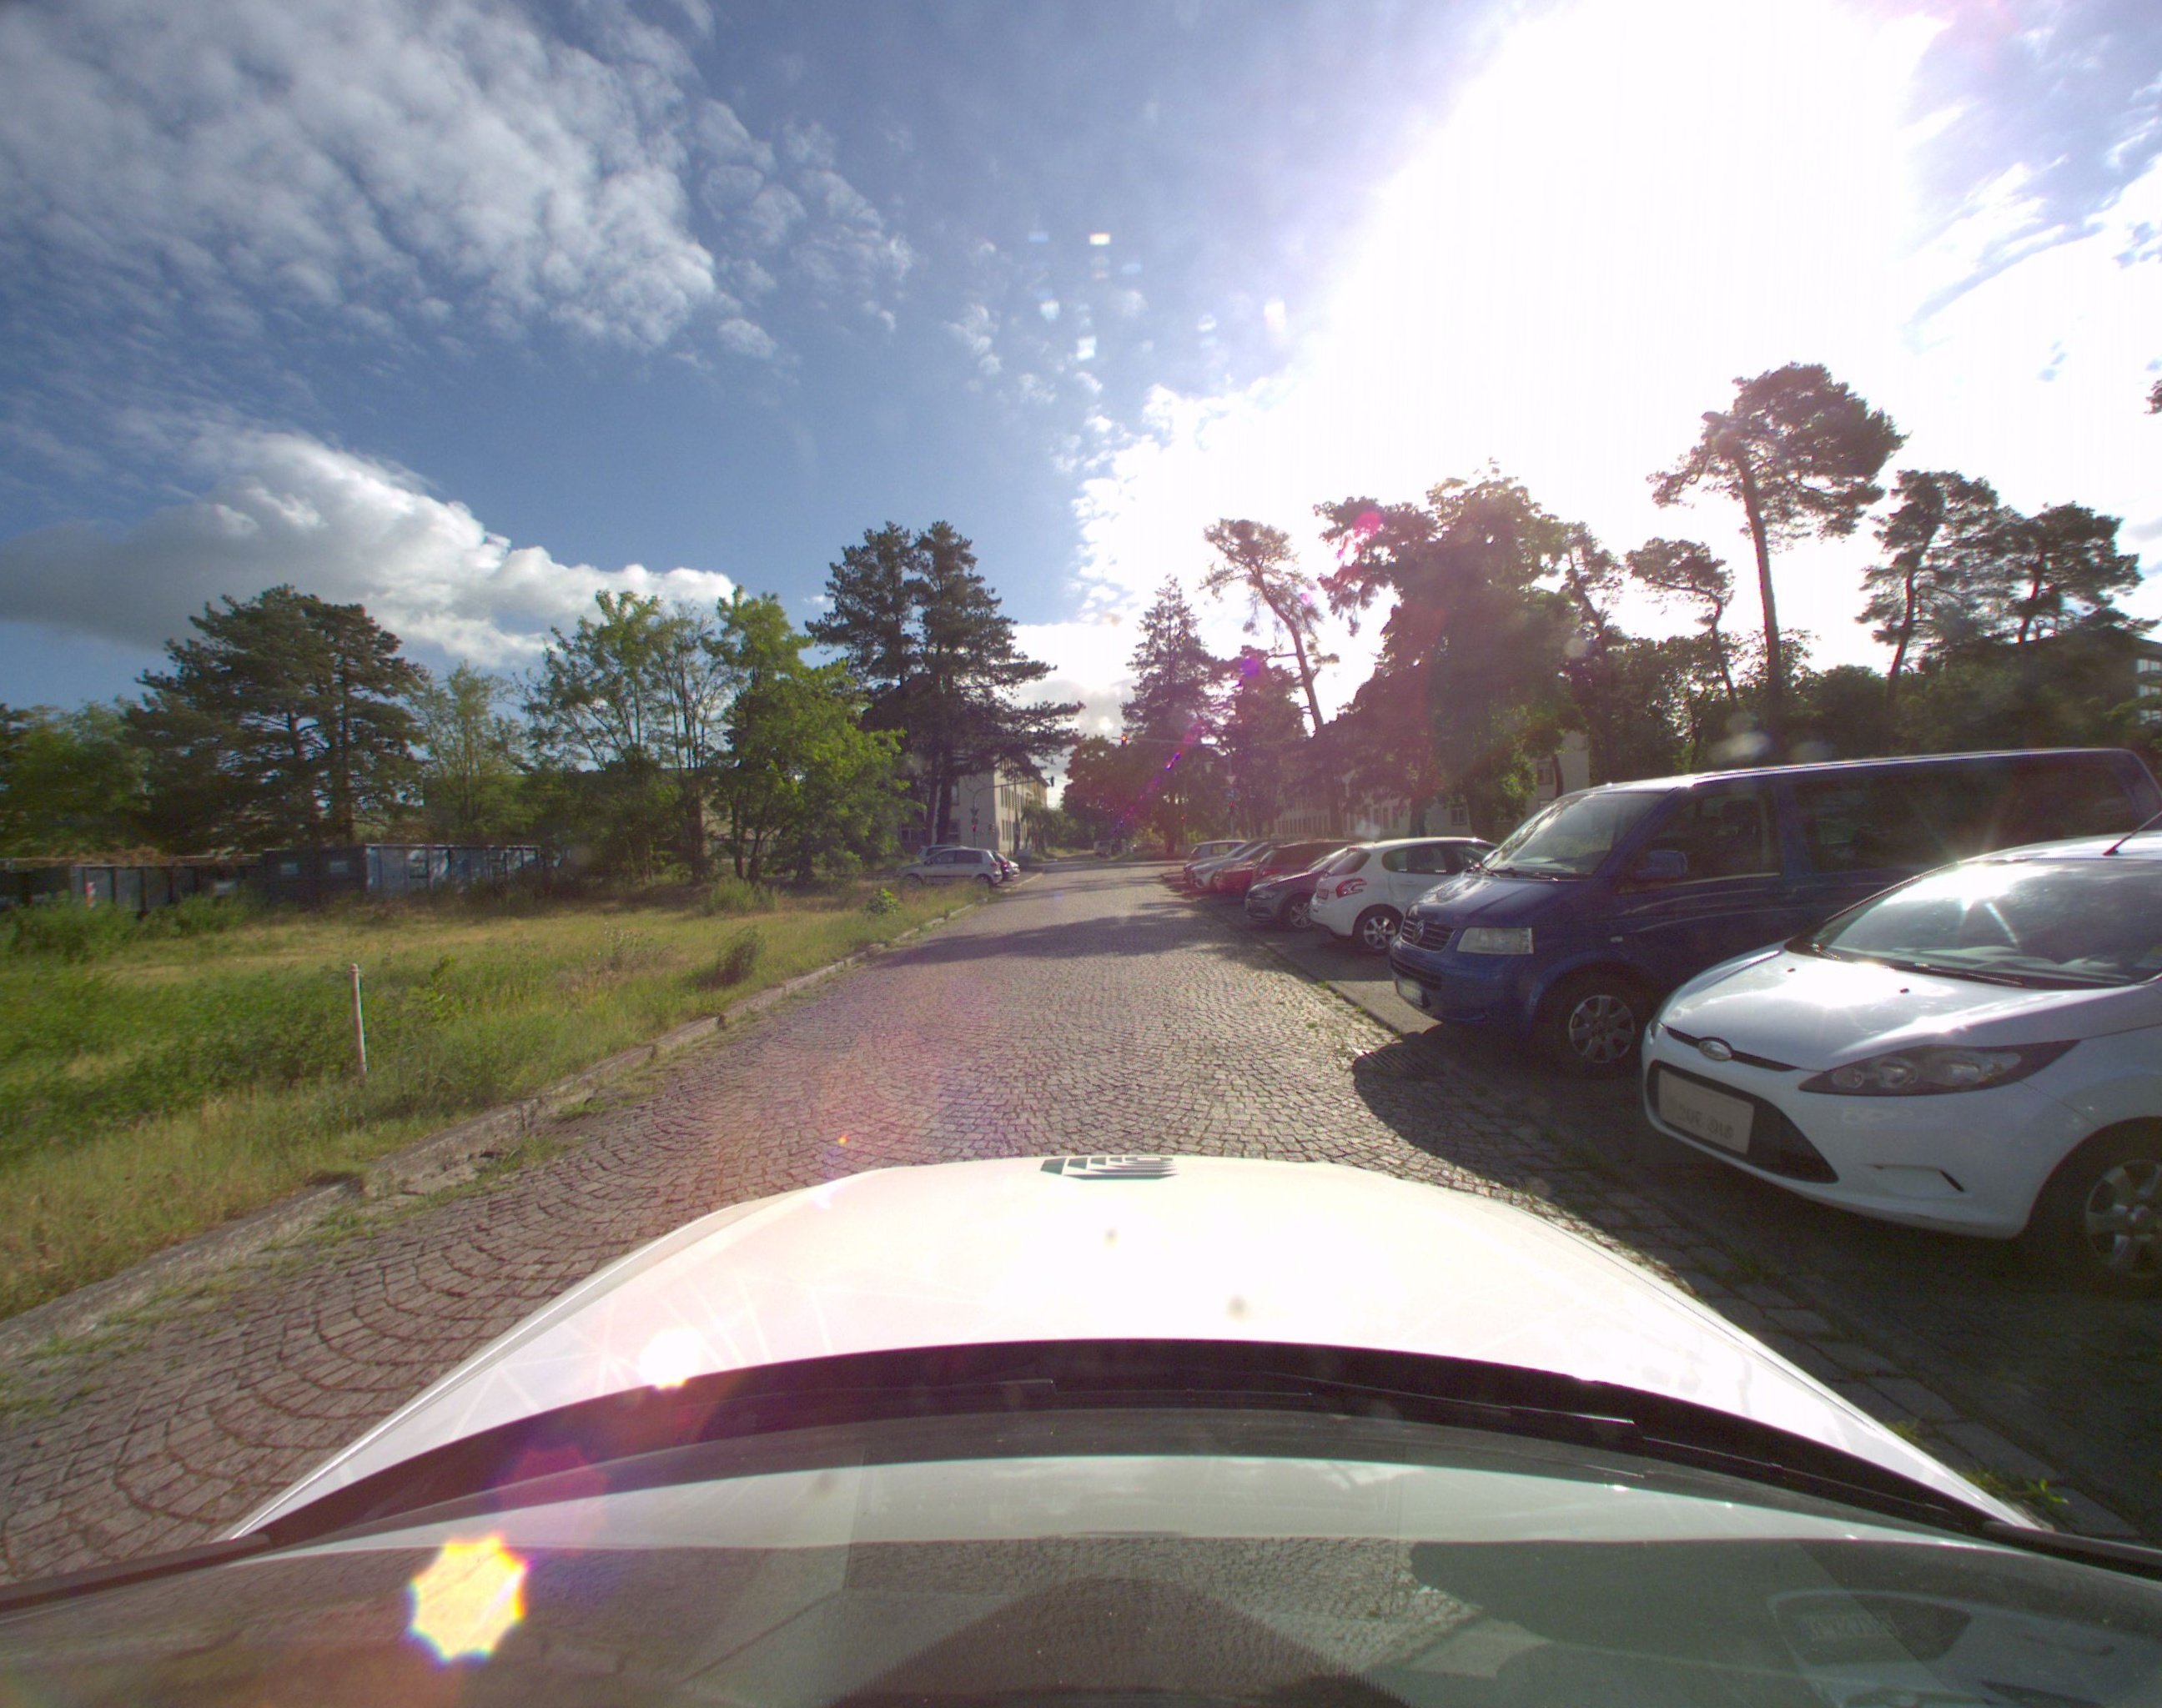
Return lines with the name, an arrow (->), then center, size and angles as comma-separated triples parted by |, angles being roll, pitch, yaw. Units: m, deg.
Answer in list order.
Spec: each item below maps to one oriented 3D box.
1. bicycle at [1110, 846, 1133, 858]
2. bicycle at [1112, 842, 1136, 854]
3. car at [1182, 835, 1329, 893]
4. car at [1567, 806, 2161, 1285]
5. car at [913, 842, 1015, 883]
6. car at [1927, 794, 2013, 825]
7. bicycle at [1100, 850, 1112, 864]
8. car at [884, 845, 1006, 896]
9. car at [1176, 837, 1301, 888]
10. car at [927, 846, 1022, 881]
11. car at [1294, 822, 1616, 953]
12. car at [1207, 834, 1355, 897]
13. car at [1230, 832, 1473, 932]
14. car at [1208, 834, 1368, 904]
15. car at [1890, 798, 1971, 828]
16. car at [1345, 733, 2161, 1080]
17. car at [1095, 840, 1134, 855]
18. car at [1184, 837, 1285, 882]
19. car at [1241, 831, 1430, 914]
bicycle -> 3.917, -0.198, 78.873 | 2.172, 1.099, 0.805 | -2, 1, -9
bicycle -> 4.223, -0.561, 79.920 | 2.172, 1.099, 0.805 | -2, 1, -9
car -> 5.162, 0.276, 24.413 | 4.024, 1.529, 1.644 | -2, 1, -3
car -> 4.456, 0.565, 3.521 | 3.708, 1.488, 1.645 | -3, 1, -1
car -> -4.925, 0.348, 34.640 | 3.973, 1.601, 2.001 | 1, 1, 1
car -> 63.759, -3.148, 58.452 | 3.972, 2.013, 2.001 | -2, 1, 1
bicycle -> 2.330, 0.264, 75.445 | 0.803, 1.169, 2.177 | -4, 1, -4
car -> -4.800, 0.553, 29.247 | 3.976, 1.600, 1.999 | -2, 1, -1
car -> 5.192, 0.264, 27.185 | 3.823, 1.529, 1.645 | -2, 1, 0
car -> -4.781, 0.415, 37.041 | 3.973, 1.453, 2.001 | 1, 1, 1
car -> 5.050, 0.424, 11.370 | 3.680, 1.465, 1.646 | -4, 0, 2
car -> 5.384, 0.295, 22.225 | 3.591, 1.529, 1.645 | -2, 1, 0
car -> 4.621, 0.452, 14.268 | 3.663, 1.467, 1.645 | -3, 1, 0
car -> 4.972, 0.338, 19.874 | 3.466, 1.529, 1.645 | -2, 1, 0
car -> 63.962, -3.073, 61.399 | 3.972, 2.013, 2.001 | -2, 1, 1
car -> 4.694, 0.300, 6.174 | 4.664, 2.013, 2.082 | -2, 1, -2
car -> 3.922, -0.766, 96.352 | 4.465, 1.728, 2.000 | -1, 1, 1
car -> 5.571, 0.195, 29.819 | 3.332, 1.482, 1.645 | -2, 1, 0
car -> 5.272, 0.362, 17.175 | 3.466, 1.529, 1.645 | -2, 1, 0
